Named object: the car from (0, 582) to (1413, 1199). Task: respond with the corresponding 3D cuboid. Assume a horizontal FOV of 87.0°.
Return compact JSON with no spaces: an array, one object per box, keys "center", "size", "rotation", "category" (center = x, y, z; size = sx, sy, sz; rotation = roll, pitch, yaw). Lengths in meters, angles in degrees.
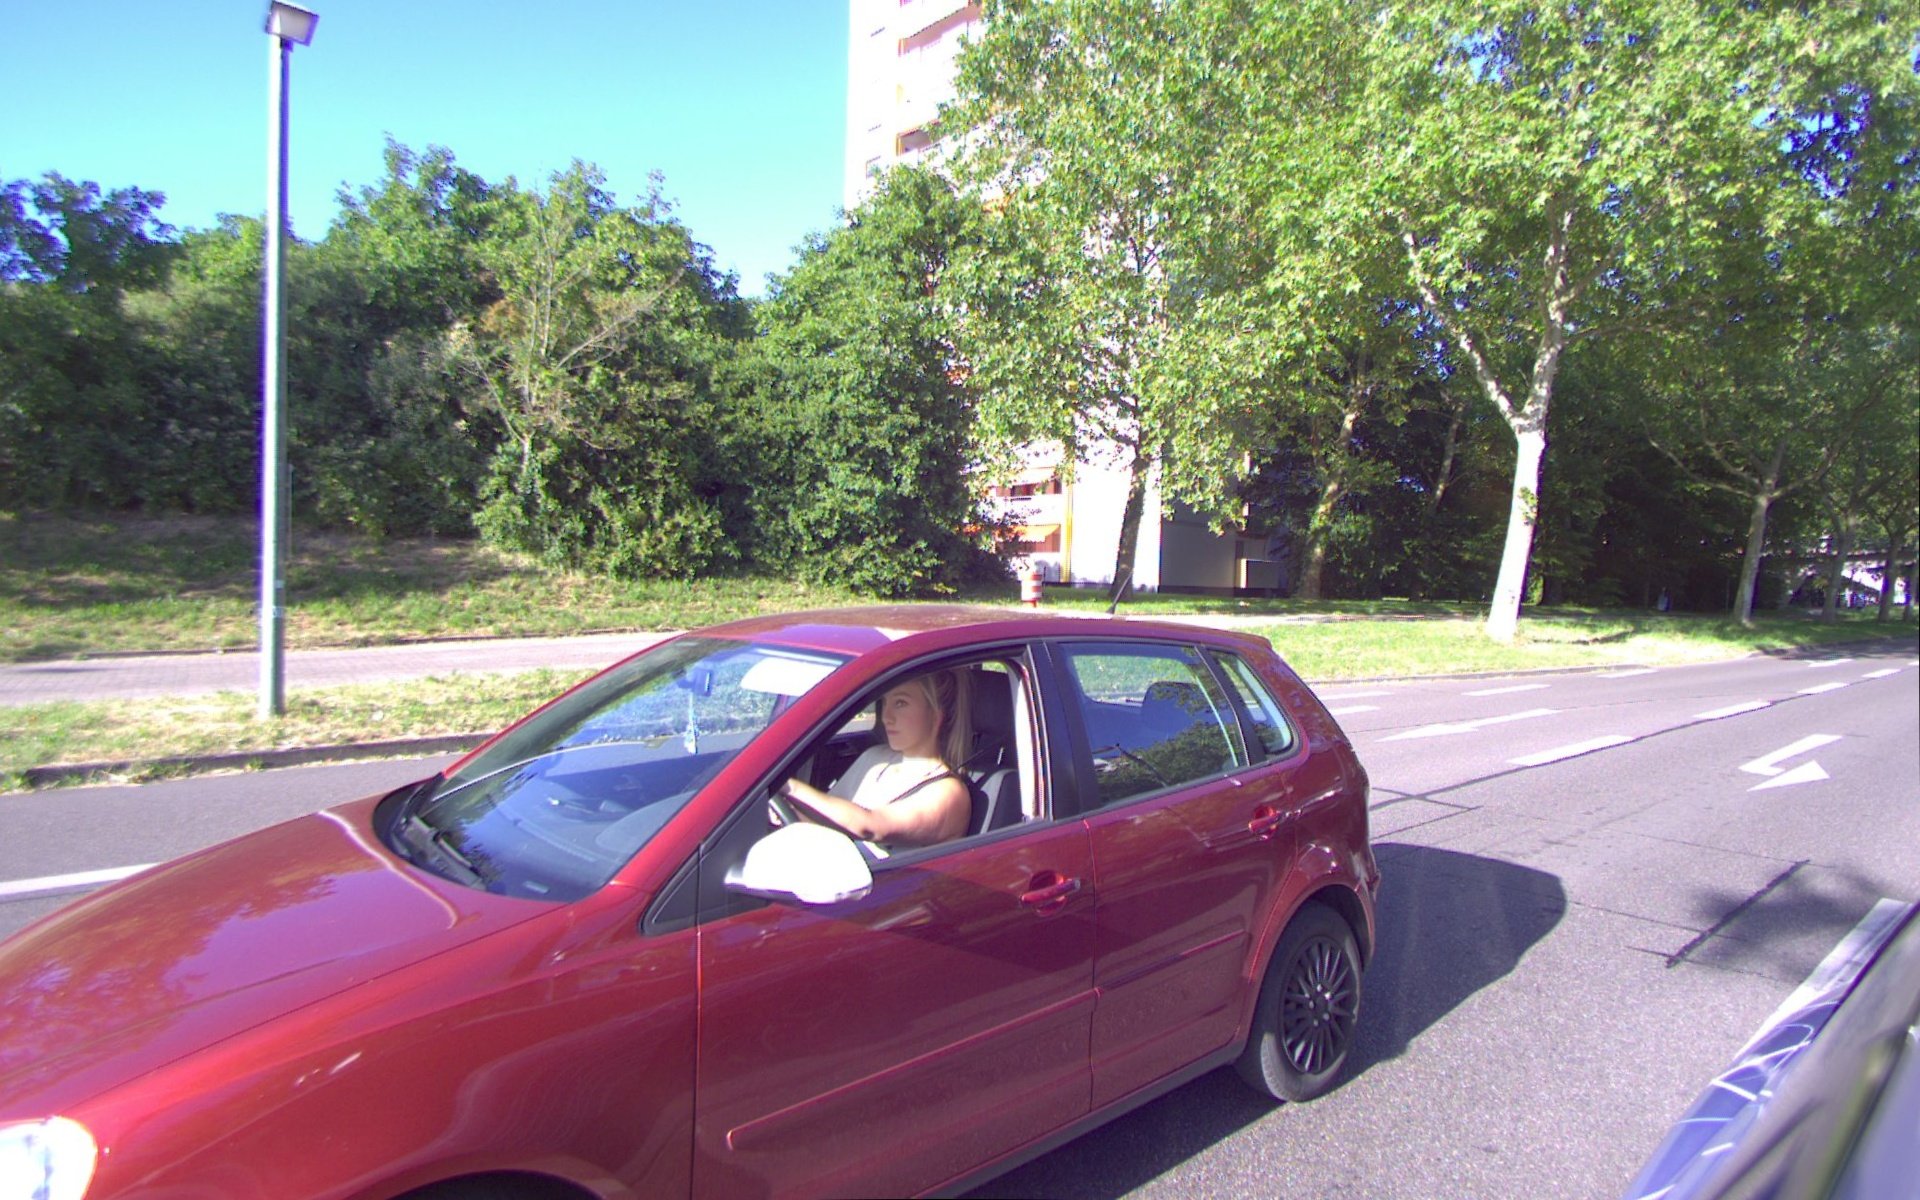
[{"center":[-0.463,0.691,2.763],"size":[3.627,1.434,1.626],"rotation":[0,1,-39],"category":"car"}]
